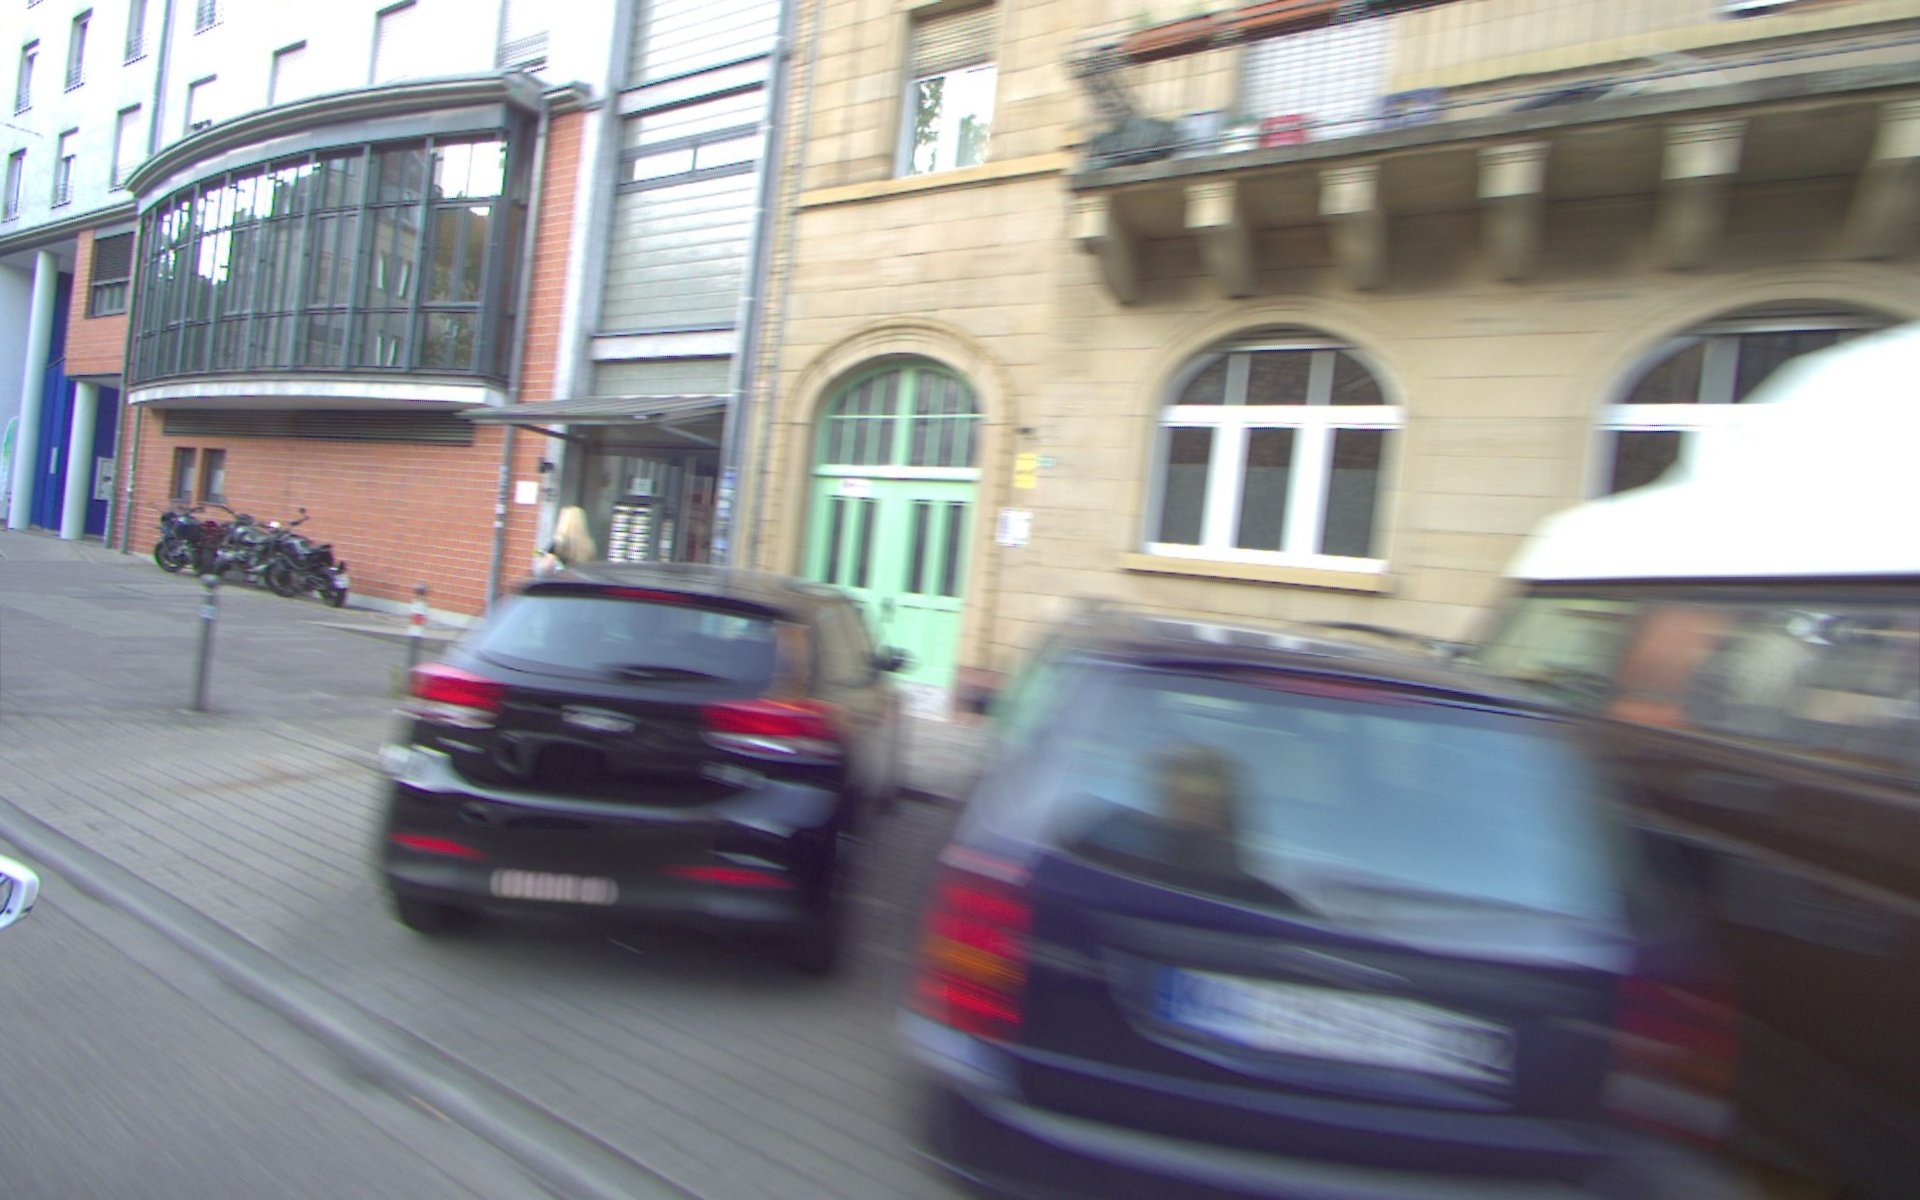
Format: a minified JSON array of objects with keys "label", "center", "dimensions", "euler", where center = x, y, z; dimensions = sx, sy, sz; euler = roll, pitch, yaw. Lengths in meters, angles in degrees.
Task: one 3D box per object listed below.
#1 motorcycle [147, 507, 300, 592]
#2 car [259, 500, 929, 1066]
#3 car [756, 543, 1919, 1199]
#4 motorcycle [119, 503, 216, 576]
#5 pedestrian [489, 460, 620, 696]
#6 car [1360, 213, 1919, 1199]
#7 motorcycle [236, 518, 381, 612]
[{"label":"motorcycle","center":[-12.251,-0.840,16.732],"dimensions":[2.371,1.154,0.777],"euler":[7,2,19]},{"label":"car","center":[-1.175,0.585,5.077],"dimensions":[1.692,1.510,4.070],"euler":[7,-1,1]},{"label":"car","center":[0.761,0.818,3.903],"dimensions":[1.877,1.521,4.358],"euler":[7,-1,4]},{"label":"motorcycle","center":[-14.221,-1.096,18.032],"dimensions":[2.048,1.118,0.588],"euler":[7,3,29]},{"label":"pedestrian","center":[-3.730,-0.205,9.248],"dimensions":[0.843,2.041,0.607],"euler":[7,3,33]},{"label":"car","center":[3.008,0.516,2.731],"dimensions":[1.882,2.577,4.727],"euler":[6,-1,3]},{"label":"motorcycle","center":[-9.770,-0.537,15.053],"dimensions":[2.399,1.154,0.800],"euler":[7,2,31]}]
